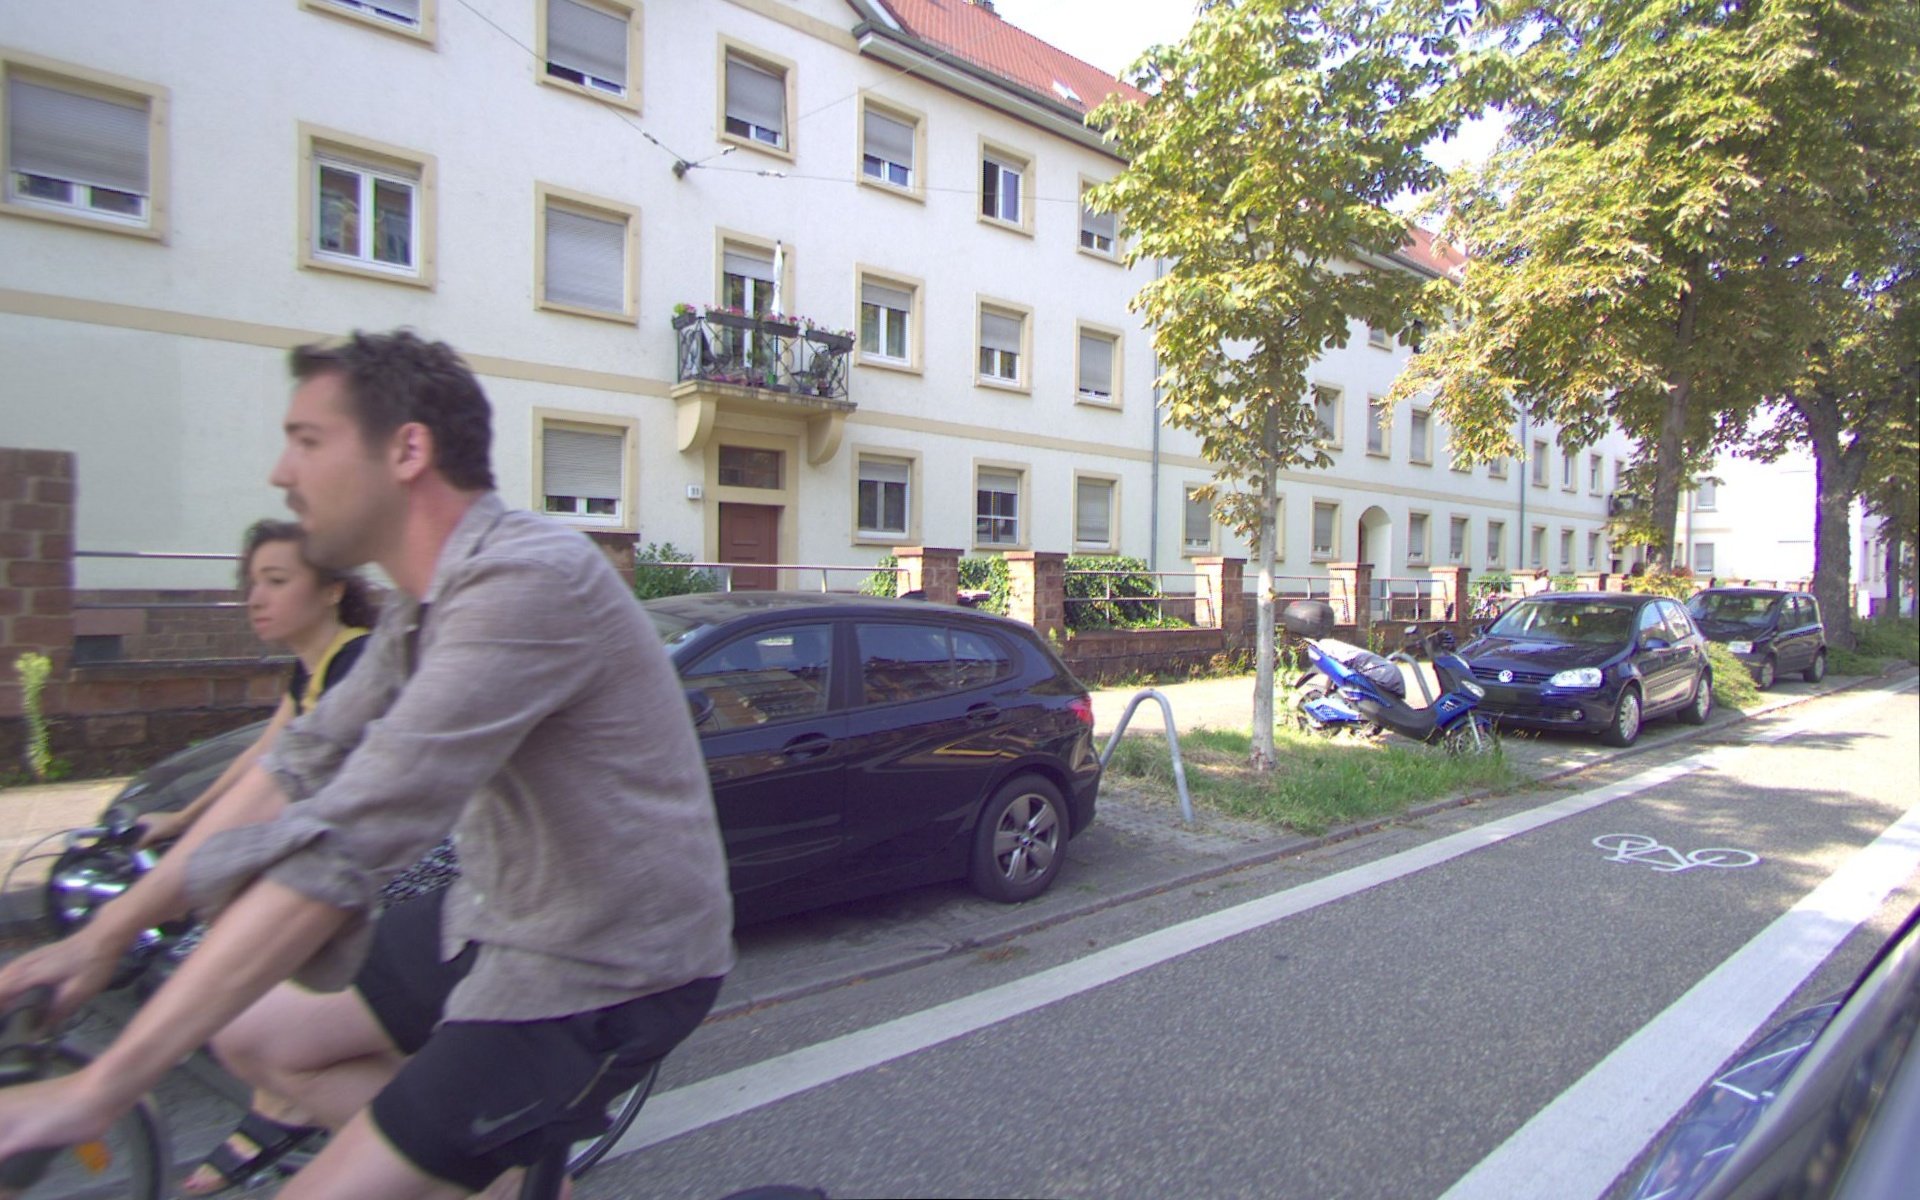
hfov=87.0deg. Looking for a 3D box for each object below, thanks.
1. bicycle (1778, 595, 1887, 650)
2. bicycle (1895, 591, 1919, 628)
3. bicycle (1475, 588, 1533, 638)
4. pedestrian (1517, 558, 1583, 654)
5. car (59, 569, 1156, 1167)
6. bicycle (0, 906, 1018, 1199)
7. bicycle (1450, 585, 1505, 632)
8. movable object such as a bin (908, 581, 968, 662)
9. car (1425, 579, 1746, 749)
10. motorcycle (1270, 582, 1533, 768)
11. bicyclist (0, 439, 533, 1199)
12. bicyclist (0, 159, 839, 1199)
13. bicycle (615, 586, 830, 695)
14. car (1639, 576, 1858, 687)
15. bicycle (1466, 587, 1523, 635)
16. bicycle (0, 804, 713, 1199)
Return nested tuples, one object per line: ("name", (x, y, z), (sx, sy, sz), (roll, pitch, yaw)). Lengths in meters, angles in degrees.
("bicycle", (17.682, 0.452, 20.531), (1.697, 1.086, 0.525), (0, 1, 3))
("bicycle", (30.294, 0.280, 32.040), (2.293, 1.117, 0.773), (0, 1, -42))
("bicycle", (12.342, 0.282, 22.943), (1.697, 1.086, 0.525), (-1, 1, -38))
("pedestrian", (11.176, 0.098, 19.168), (0.861, 1.771, 0.755), (0, 1, -32))
("car", (-1.175, 0.649, 4.585), (4.259, 1.452, 1.694), (-1, 4, -40))
("bicycle", (-0.685, 1.053, 1.204), (1.498, 0.920, 0.627), (-1, 0, -40))
("bicycle", (12.467, 0.193, 24.352), (1.697, 1.086, 0.525), (-1, 1, -38))
("movable object such as a bin", (-0.310, 0.287, 13.983), (0.648, 1.083, 0.508), (0, 2, -38))
("car", (6.930, 0.536, 11.053), (4.169, 1.465, 1.650), (-1, 4, -39))
("motorcycle", (3.760, 0.595, 8.759), (0.692, 1.306, 1.858), (6, 1, -41))
("bicyclist", (-1.469, 0.483, 2.129), (0.892, 1.492, 0.655), (-1, 0, -40))
("bicyclist", (-0.703, 0.368, 1.206), (0.913, 1.418, 0.627), (-1, 0, -40))
("bicycle", (-2.647, 0.404, 11.491), (2.293, 1.117, 0.773), (0, 1, -42))
("car", (12.877, 0.425, 16.487), (3.768, 1.559, 1.652), (-1, 3, -34))
("bicycle", (12.511, 0.232, 23.676), (1.697, 1.086, 0.525), (-1, 1, -38))
("bicycle", (-1.468, 1.060, 2.107), (1.743, 0.920, 0.655), (-1, 0, -40))
